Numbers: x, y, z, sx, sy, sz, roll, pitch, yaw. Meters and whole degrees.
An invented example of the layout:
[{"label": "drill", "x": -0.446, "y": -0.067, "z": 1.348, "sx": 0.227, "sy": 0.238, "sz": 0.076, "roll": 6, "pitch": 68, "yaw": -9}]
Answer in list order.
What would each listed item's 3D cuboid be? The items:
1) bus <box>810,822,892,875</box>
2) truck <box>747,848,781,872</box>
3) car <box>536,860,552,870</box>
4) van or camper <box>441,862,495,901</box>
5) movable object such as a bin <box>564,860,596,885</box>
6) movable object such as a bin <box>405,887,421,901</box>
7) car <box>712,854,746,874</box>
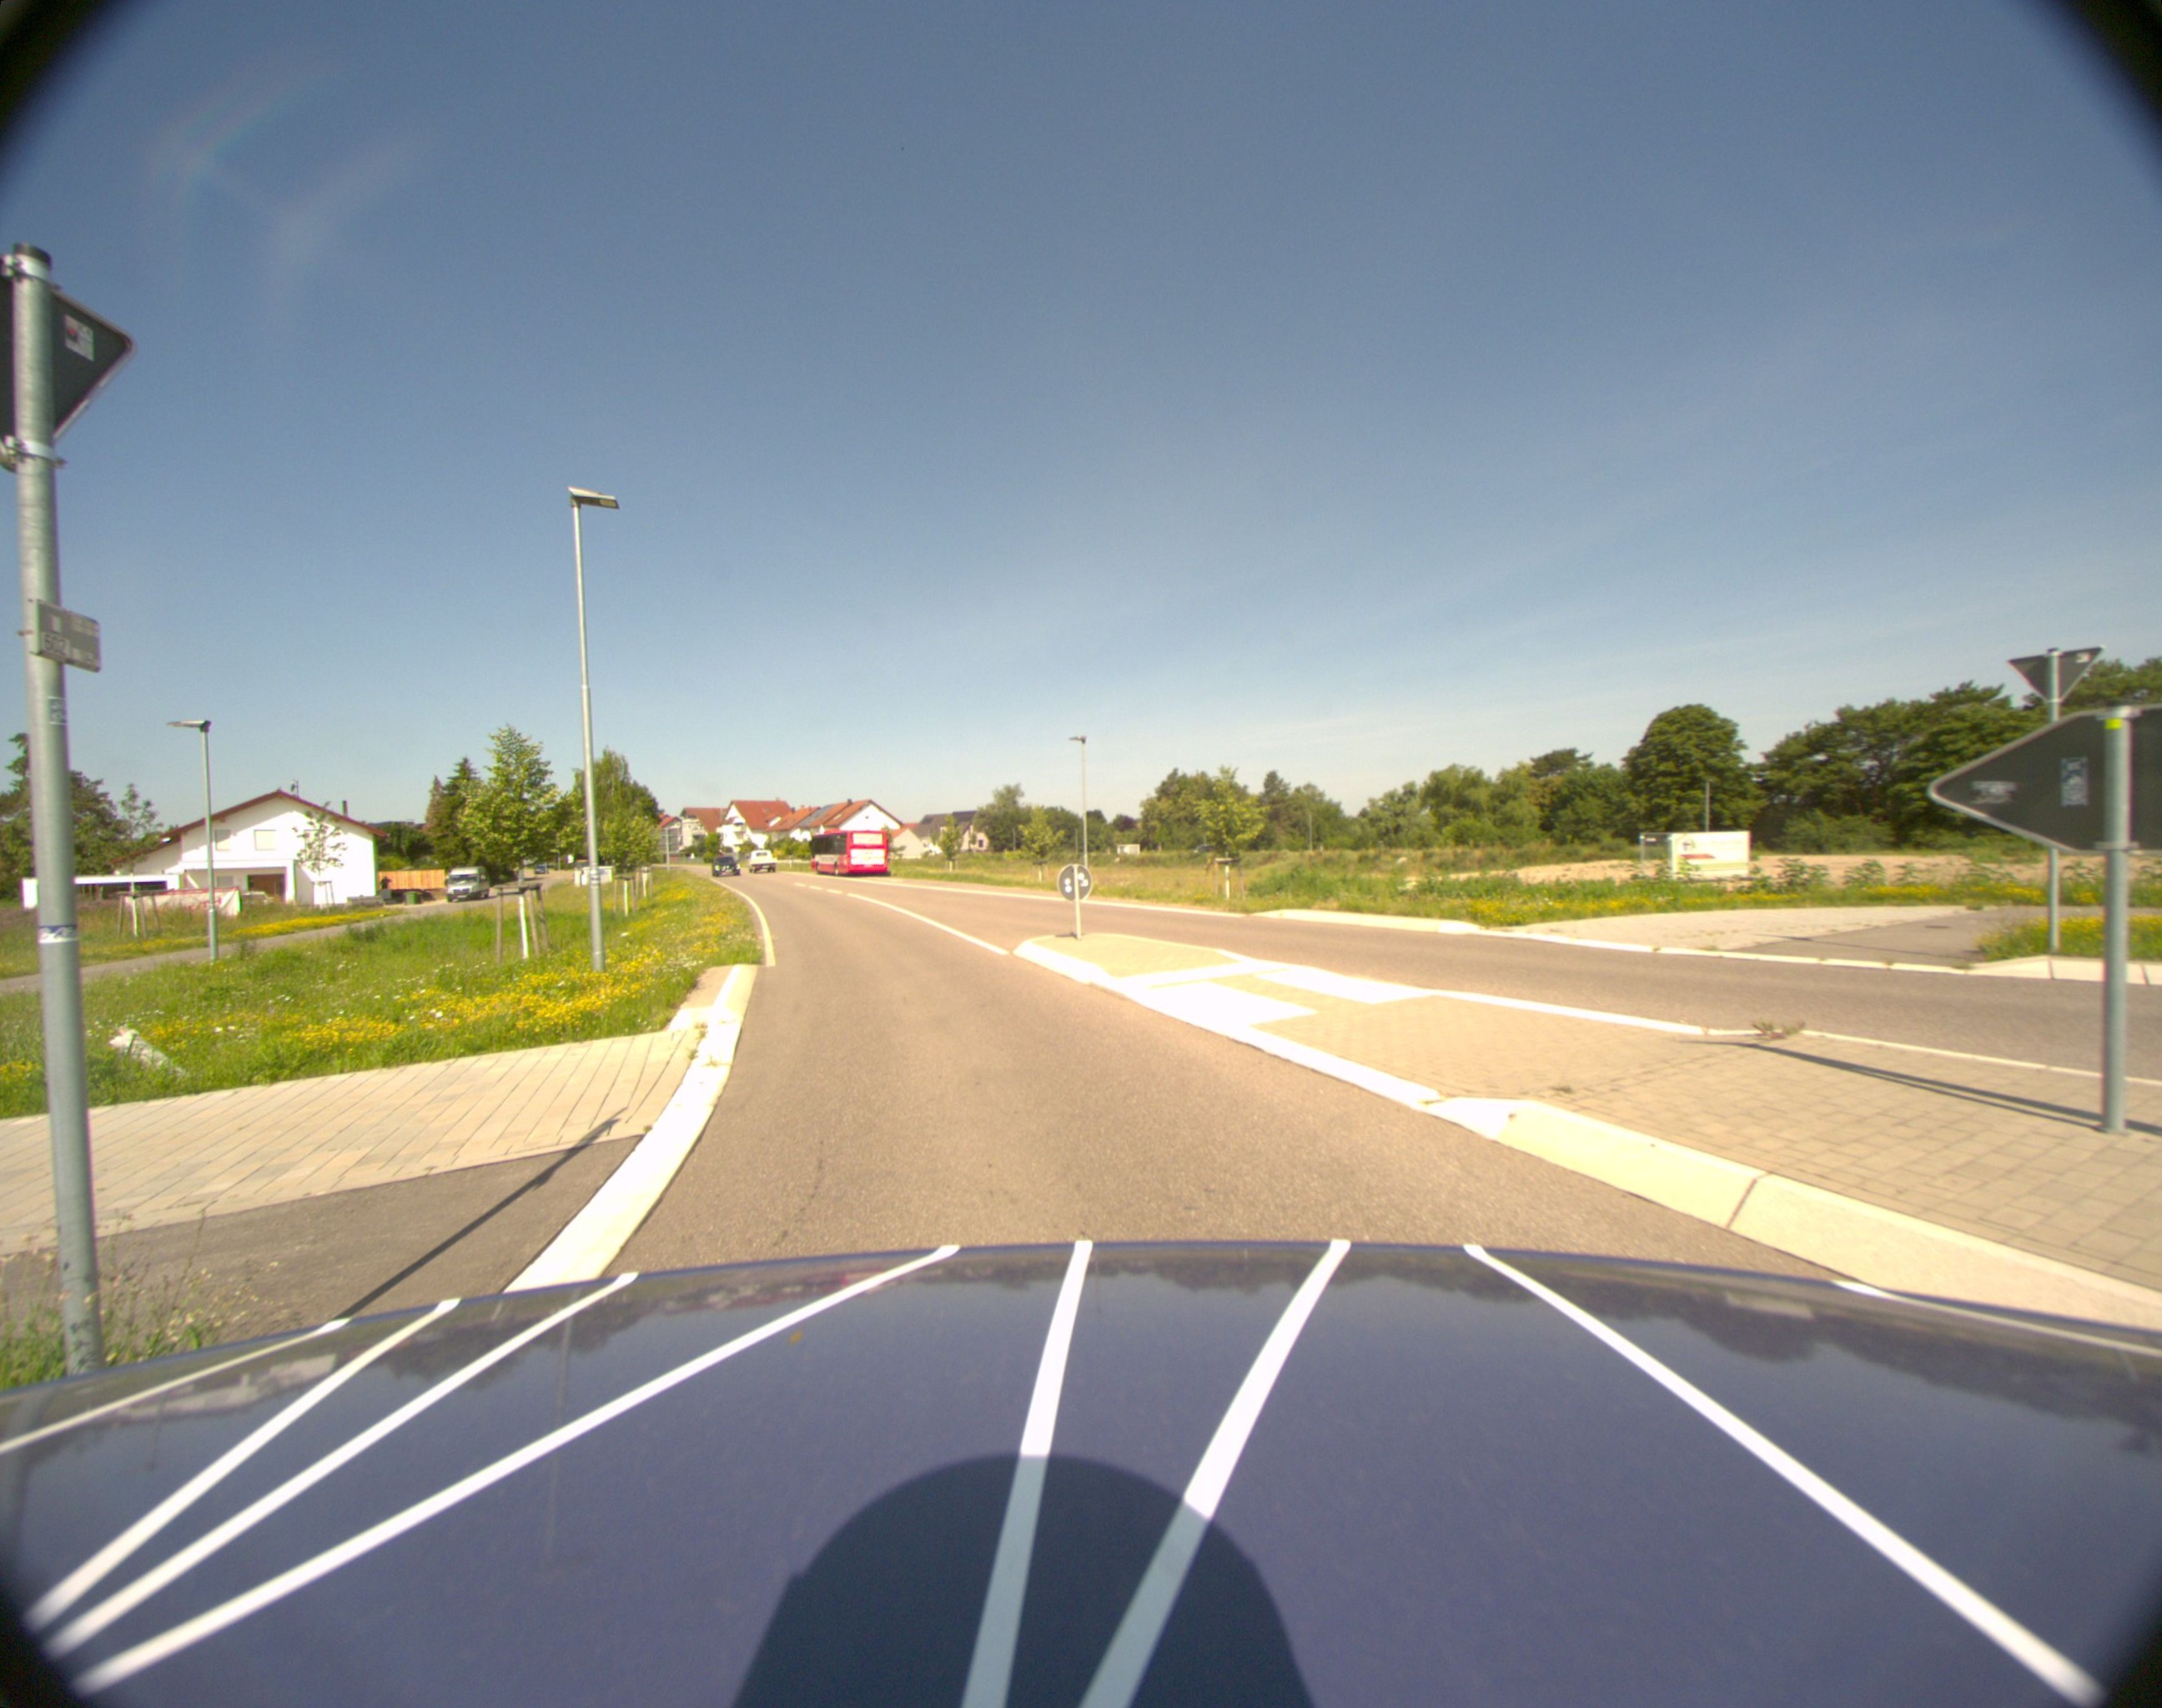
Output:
[{"label": "bus", "x": -16.115, "y": -0.294, "z": 52.397, "sx": 2.808, "sy": 3.267, "sz": 12.200, "roll": 0, "pitch": 0, "yaw": -30}, {"label": "truck", "x": -28.199, "y": 0.539, "z": 67.562, "sx": 1.960, "sy": 1.974, "sz": 5.630, "roll": -4, "pitch": 2, "yaw": -30}, {"label": "car", "x": -90.056, "y": 1.766, "z": 127.440, "sx": 1.867, "sy": 1.437, "sz": 4.157, "roll": -5, "pitch": 3, "yaw": -33}, {"label": "van or camper", "x": -47.947, "y": 2.075, "z": 59.609, "sx": 2.182, "sy": 2.586, "sz": 6.015, "roll": -4, "pitch": 3, "yaw": -29}, {"label": "movable object such as a bin", "x": -54.003, "y": 1.941, "z": 81.949, "sx": 2.327, "sy": 2.449, "sz": 6.929, "roll": -3, "pitch": 1, "yaw": -30}, {"label": "movable object such as a bin", "x": -48.851, "y": 2.923, "z": 55.578, "sx": 0.695, "sy": 0.932, "sz": 0.637, "roll": -3, "pitch": 2, "yaw": -25}, {"label": "car", "x": -28.812, "y": 0.830, "z": 62.111, "sx": 1.938, "sy": 1.552, "sz": 3.990, "roll": -2, "pitch": 0, "yaw": -32}]
